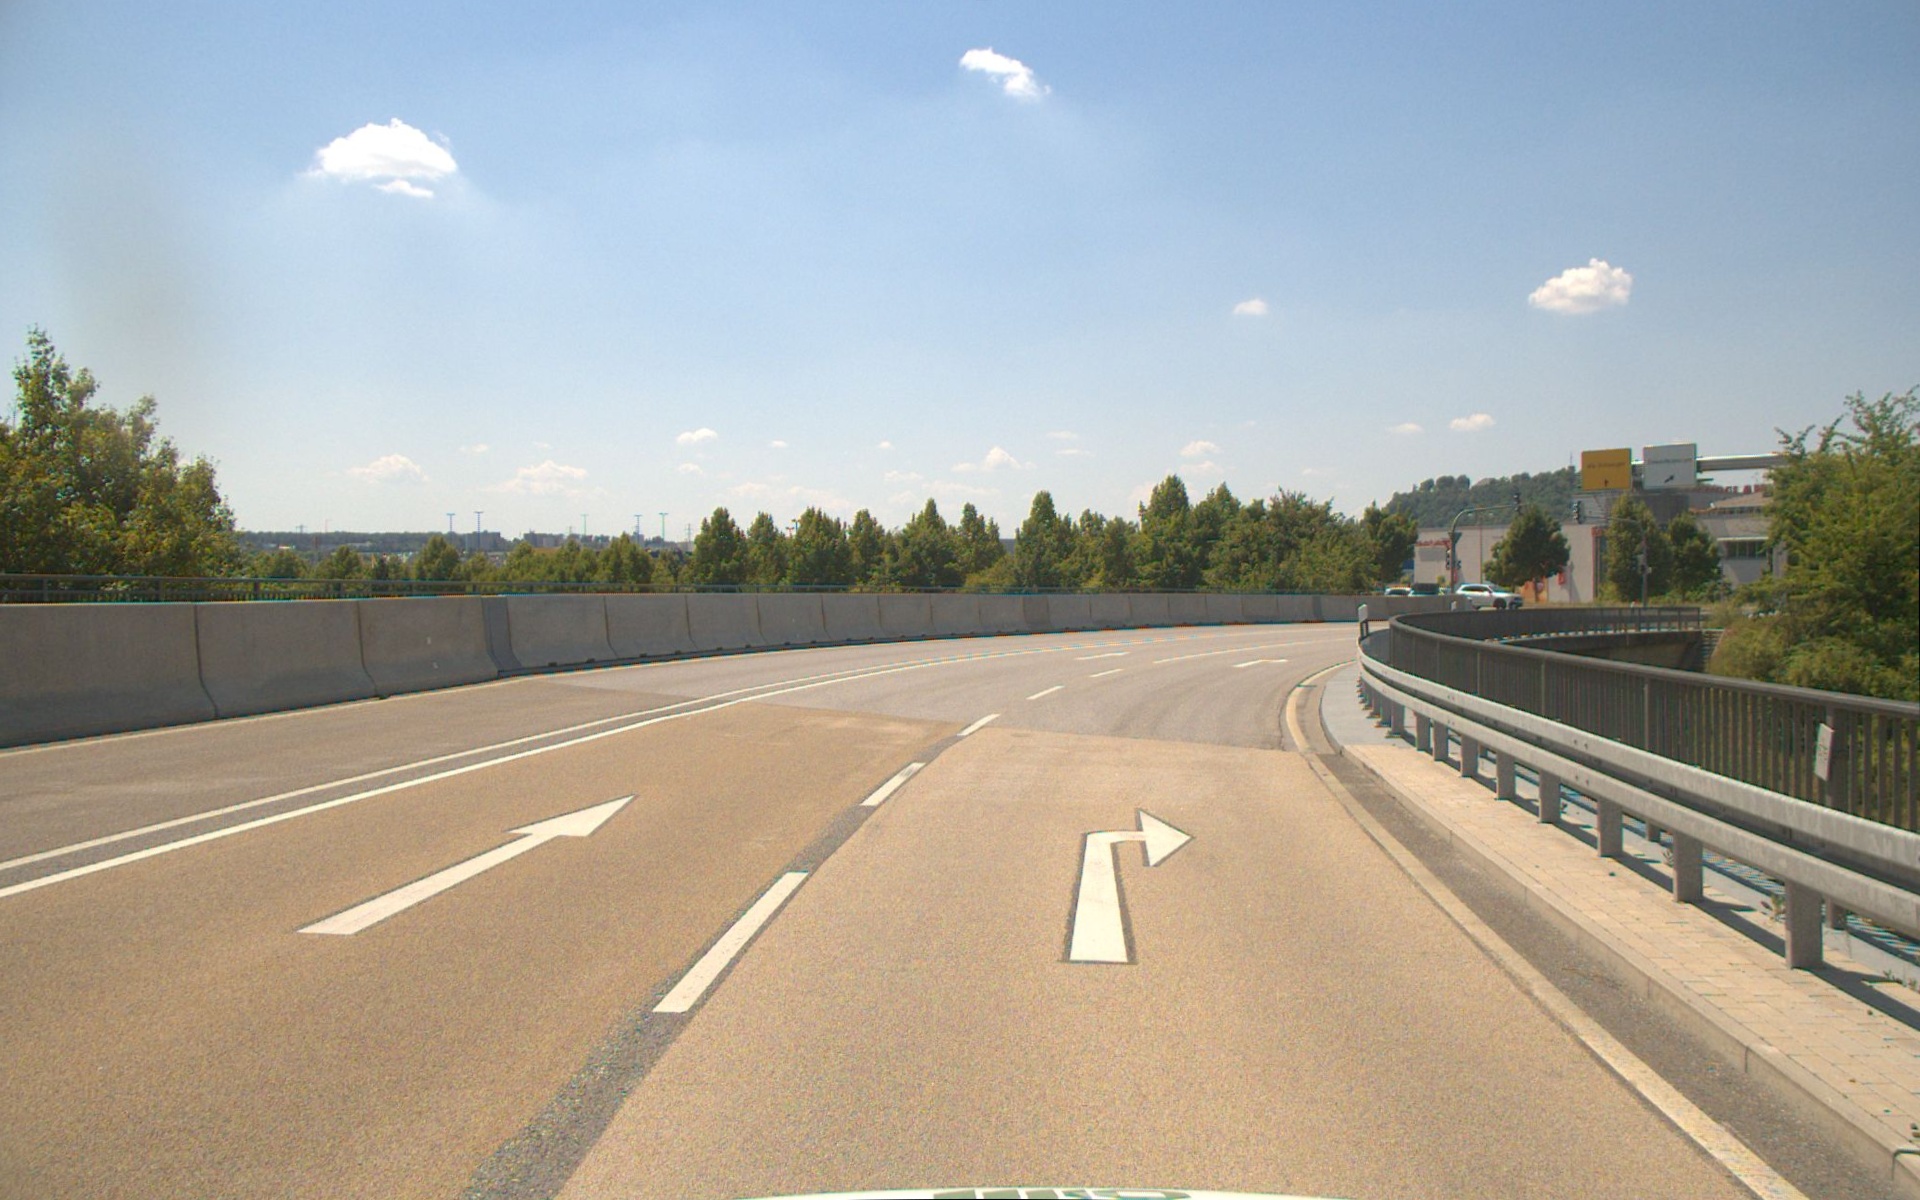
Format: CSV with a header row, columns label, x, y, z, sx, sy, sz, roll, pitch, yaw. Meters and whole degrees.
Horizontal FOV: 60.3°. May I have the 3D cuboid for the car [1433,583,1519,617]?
label,x,y,z,sx,sy,sz,roll,pitch,yaw
car,32.726,0.004,104.896,4.776,1.999,2.089,2,0,41
